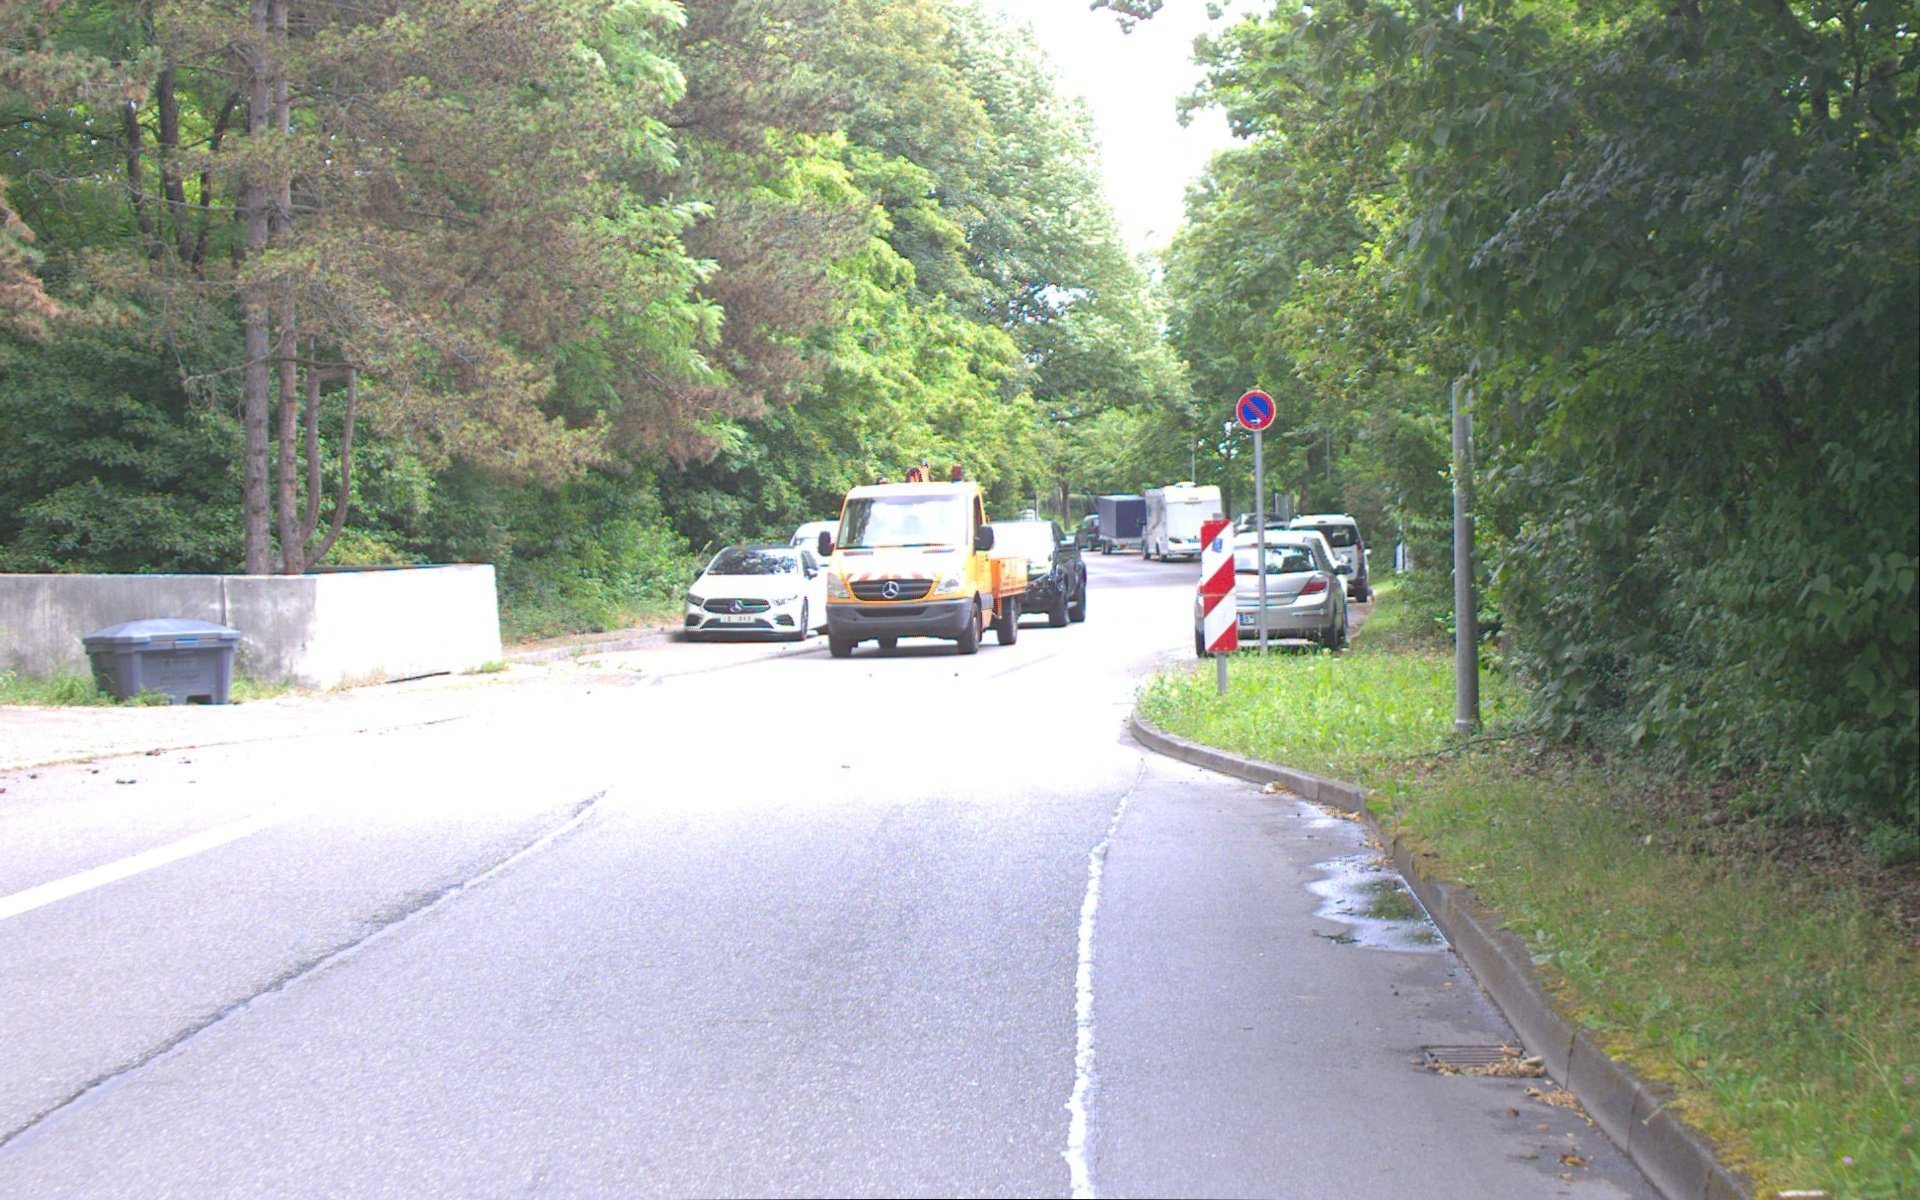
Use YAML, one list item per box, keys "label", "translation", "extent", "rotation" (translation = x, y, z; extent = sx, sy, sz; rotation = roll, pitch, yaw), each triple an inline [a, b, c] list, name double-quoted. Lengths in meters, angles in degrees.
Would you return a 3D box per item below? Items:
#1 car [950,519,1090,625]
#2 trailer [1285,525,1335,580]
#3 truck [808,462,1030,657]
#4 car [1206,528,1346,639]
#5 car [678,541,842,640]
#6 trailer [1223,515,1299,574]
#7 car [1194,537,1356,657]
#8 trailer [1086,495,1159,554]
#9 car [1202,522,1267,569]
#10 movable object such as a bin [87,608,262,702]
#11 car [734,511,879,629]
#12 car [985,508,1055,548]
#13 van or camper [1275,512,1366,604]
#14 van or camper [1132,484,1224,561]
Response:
- label: "car"
  translation: [1.096, -0.507, 59.710]
  extent: [1.994, 1.729, 5.336]
  rotation: [-1, 1, 6]
- label: "trailer"
  translation: [10.313, -1.423, 101.418]
  extent: [1.278, 1.579, 2.460]
  rotation: [-1, 1, 2]
- label: "truck"
  translation: [-0.471, -0.602, 47.080]
  extent: [2.323, 2.461, 6.019]
  rotation: [1, 2, 6]
- label: "car"
  translation: [4.687, -0.285, 50.382]
  extent: [1.886, 1.501, 5.175]
  rotation: [-1, 1, 7]
- label: "car"
  translation: [-3.010, -0.175, 52.573]
  extent: [1.806, 1.398, 4.371]
  rotation: [1, 1, 6]
- label: "trailer"
  translation: [9.952, -1.866, 114.063]
  extent: [1.979, 1.805, 5.149]
  rotation: [-2, 2, -1]
- label: "car"
  translation: [3.979, -0.068, 42.971]
  extent: [1.793, 1.406, 4.058]
  rotation: [-1, 1, 8]
- label: "trailer"
  translation: [6.805, -3.188, 144.566]
  extent: [1.993, 2.390, 4.001]
  rotation: [-2, 1, -13]
- label: "car"
  translation: [9.840, -1.965, 123.442]
  extent: [1.799, 1.556, 3.836]
  rotation: [-2, 2, -3]
- label: "movable object such as a bin"
  translation: [-6.564, 0.457, 28.712]
  extent: [1.144, 0.758, 1.049]
  rotation: [1, 0, -30]
- label: "car"
  translation: [-2.605, -0.553, 59.270]
  extent: [1.721, 1.915, 4.103]
  rotation: [1, 2, 9]
- label: "car"
  translation: [2.817, -3.418, 163.092]
  extent: [2.034, 1.797, 4.084]
  rotation: [-2, 2, -18]
- label: "van or camper"
  translation: [7.519, -0.849, 71.609]
  extent: [1.802, 1.831, 4.319]
  rotation: [-1, 0, 6]
- label: "van or camper"
  translation: [8.461, -2.997, 133.888]
  extent: [2.481, 2.866, 6.891]
  rotation: [-1, 1, -5]
